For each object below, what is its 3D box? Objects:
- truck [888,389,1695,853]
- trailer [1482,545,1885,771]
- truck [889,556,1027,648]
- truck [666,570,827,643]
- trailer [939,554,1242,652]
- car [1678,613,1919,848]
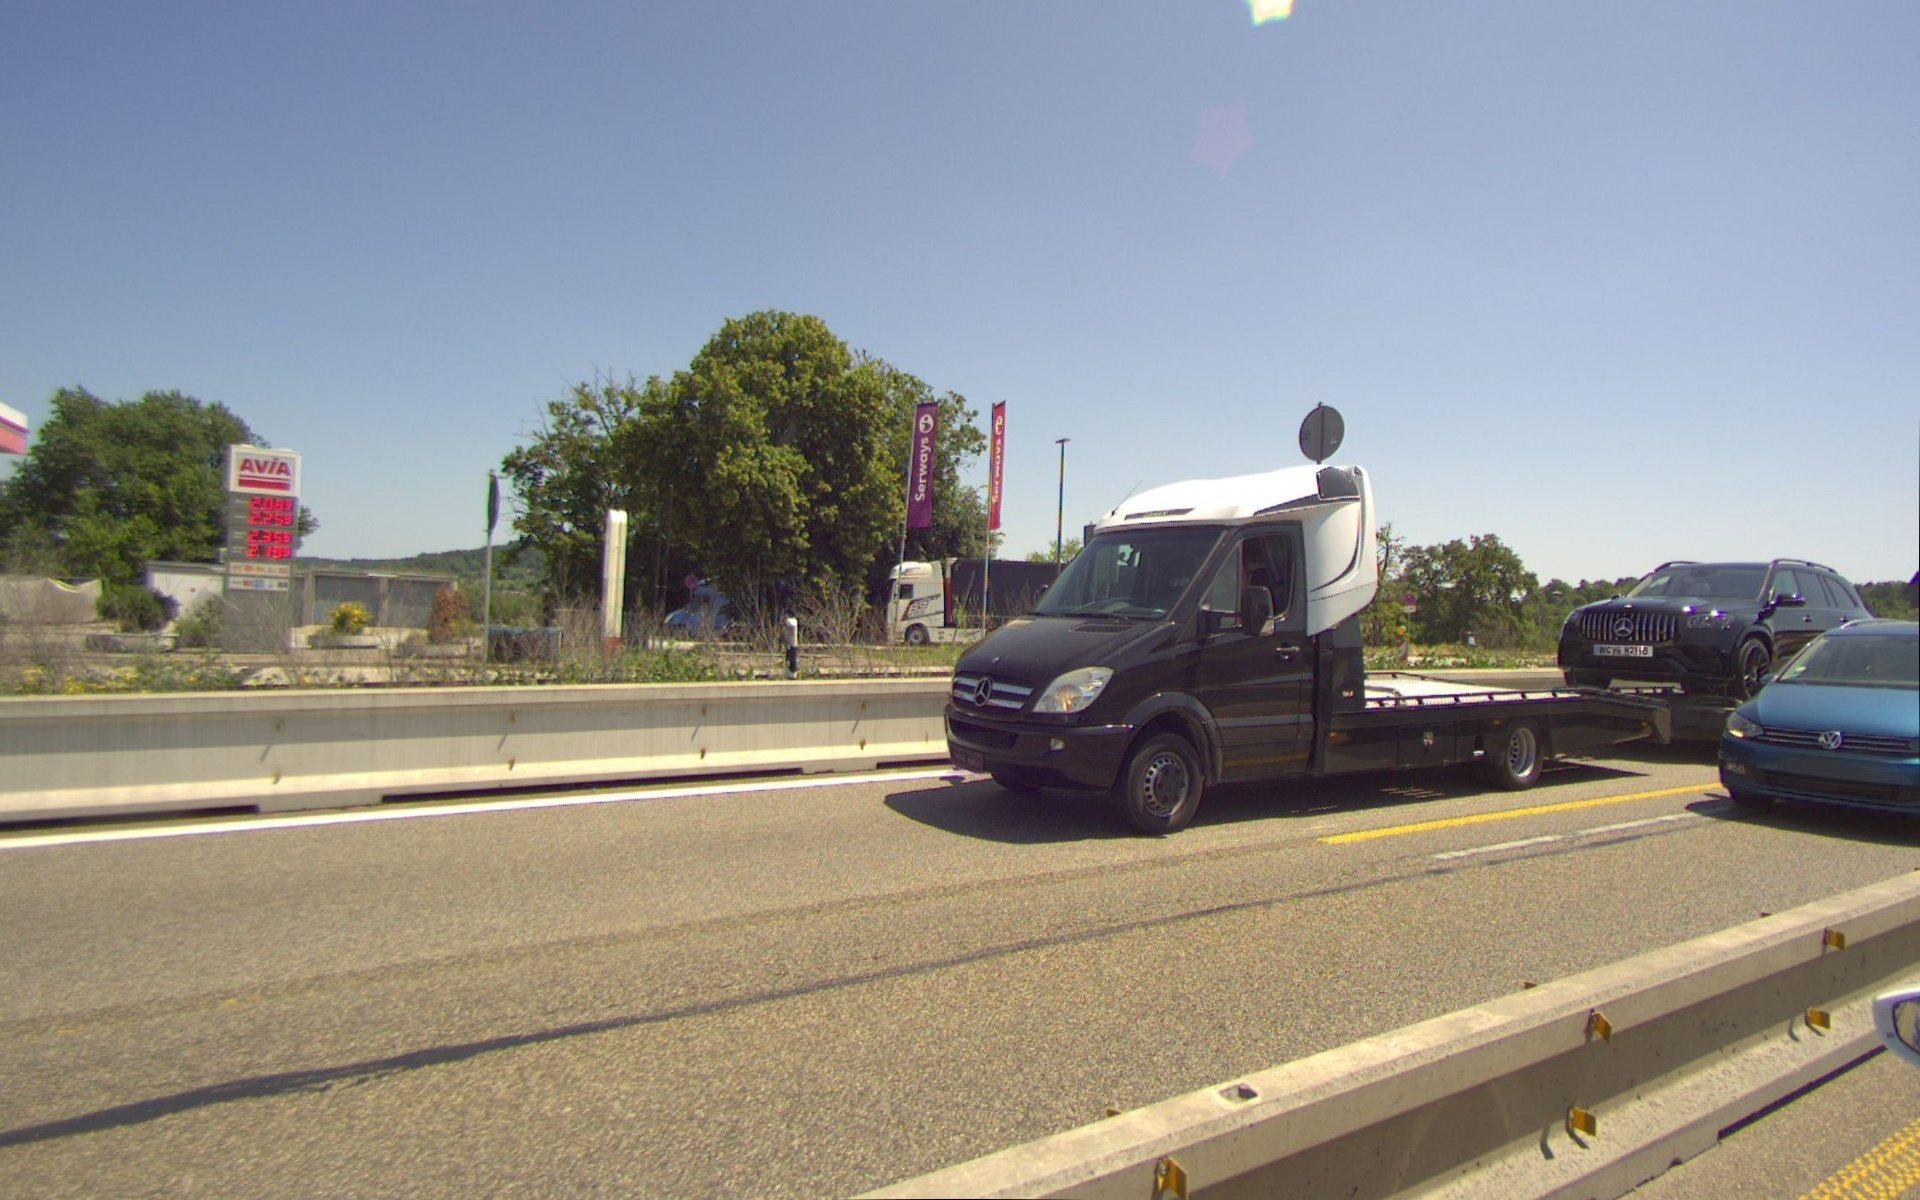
[{"bbox_3d":[3.481,0.218,9.323,8.034,2.861,2.468,1,-1,-31],"label":"truck"},{"bbox_3d":[9.332,0.661,12.808,5.549,2.345,2.171,1,-1,-31],"label":"trailer"},{"bbox_3d":[-0.165,0.109,47.311,6.225,4.038,3.159,1,-1,-3],"label":"truck"},{"bbox_3d":[-9.695,0.324,46.368,6.992,3.104,2.824,2,-1,-9],"label":"truck"},{"bbox_3d":[6.041,0.180,47.730,13.891,4.166,3.159,2,-1,-4],"label":"trailer"},{"bbox_3d":[8.206,0.958,8.605,3.953,1.630,1.895,1,0,-30],"label":"car"}]
